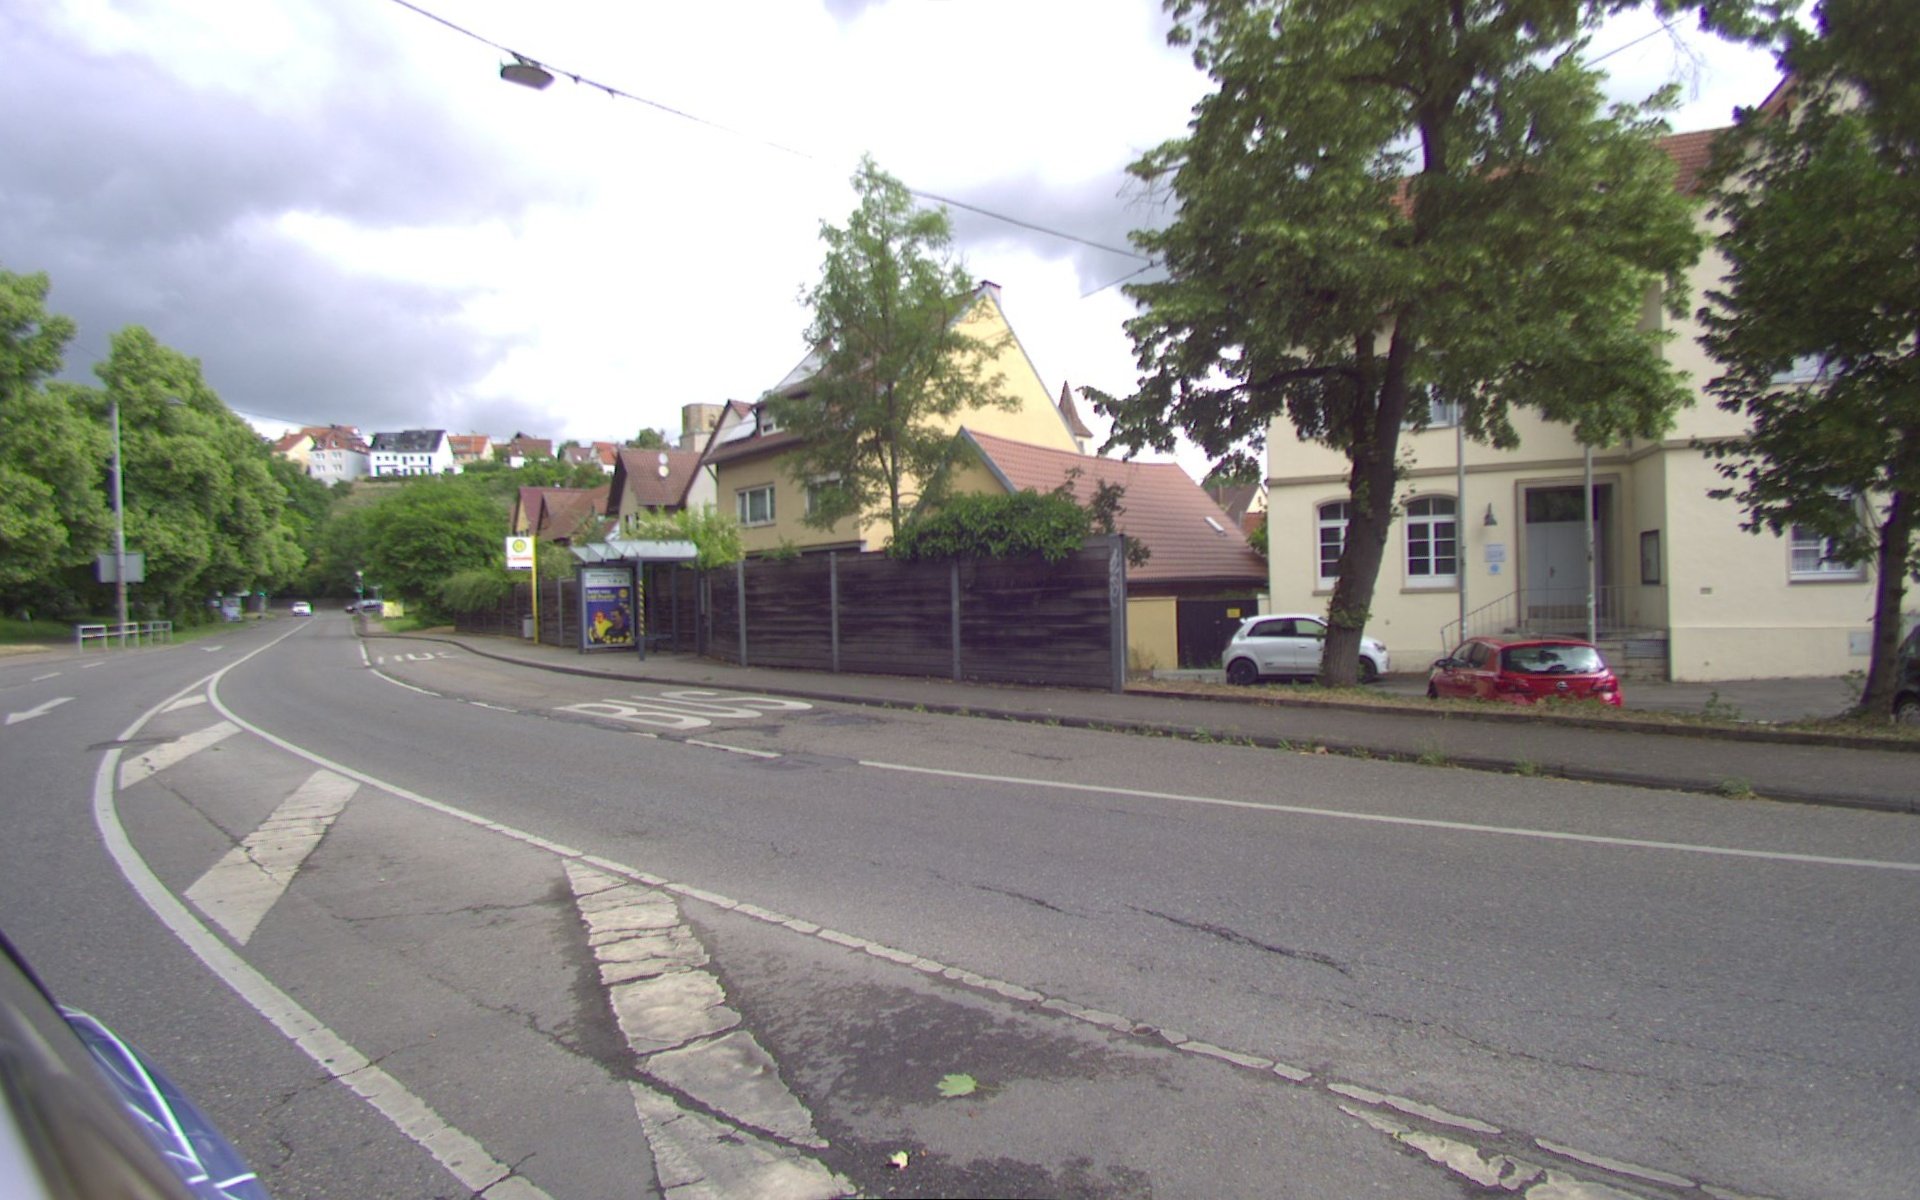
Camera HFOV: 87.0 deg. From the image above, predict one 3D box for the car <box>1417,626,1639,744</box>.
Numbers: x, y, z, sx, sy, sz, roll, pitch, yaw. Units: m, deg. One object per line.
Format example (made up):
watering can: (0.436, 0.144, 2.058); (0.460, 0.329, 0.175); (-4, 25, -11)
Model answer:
car: (8.142, 1.147, 14.892); (1.643, 1.393, 3.709); (-1, 0, 9)

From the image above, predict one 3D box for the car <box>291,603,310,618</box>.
car: (-74.115, 1.174, 113.726); (1.735, 1.536, 3.693); (-1, 0, -34)

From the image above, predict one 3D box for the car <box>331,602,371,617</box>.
car: (-70.110, 1.080, 116.543); (1.753, 1.596, 3.657); (-1, 0, 21)

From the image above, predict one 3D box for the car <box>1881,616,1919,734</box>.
car: (12.630, 0.934, 11.317); (1.626, 1.450, 3.567); (-1, 0, 7)

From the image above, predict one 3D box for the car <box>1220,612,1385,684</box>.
car: (7.717, 1.057, 22.899); (3.411, 1.490, 1.600); (-1, 0, 21)
